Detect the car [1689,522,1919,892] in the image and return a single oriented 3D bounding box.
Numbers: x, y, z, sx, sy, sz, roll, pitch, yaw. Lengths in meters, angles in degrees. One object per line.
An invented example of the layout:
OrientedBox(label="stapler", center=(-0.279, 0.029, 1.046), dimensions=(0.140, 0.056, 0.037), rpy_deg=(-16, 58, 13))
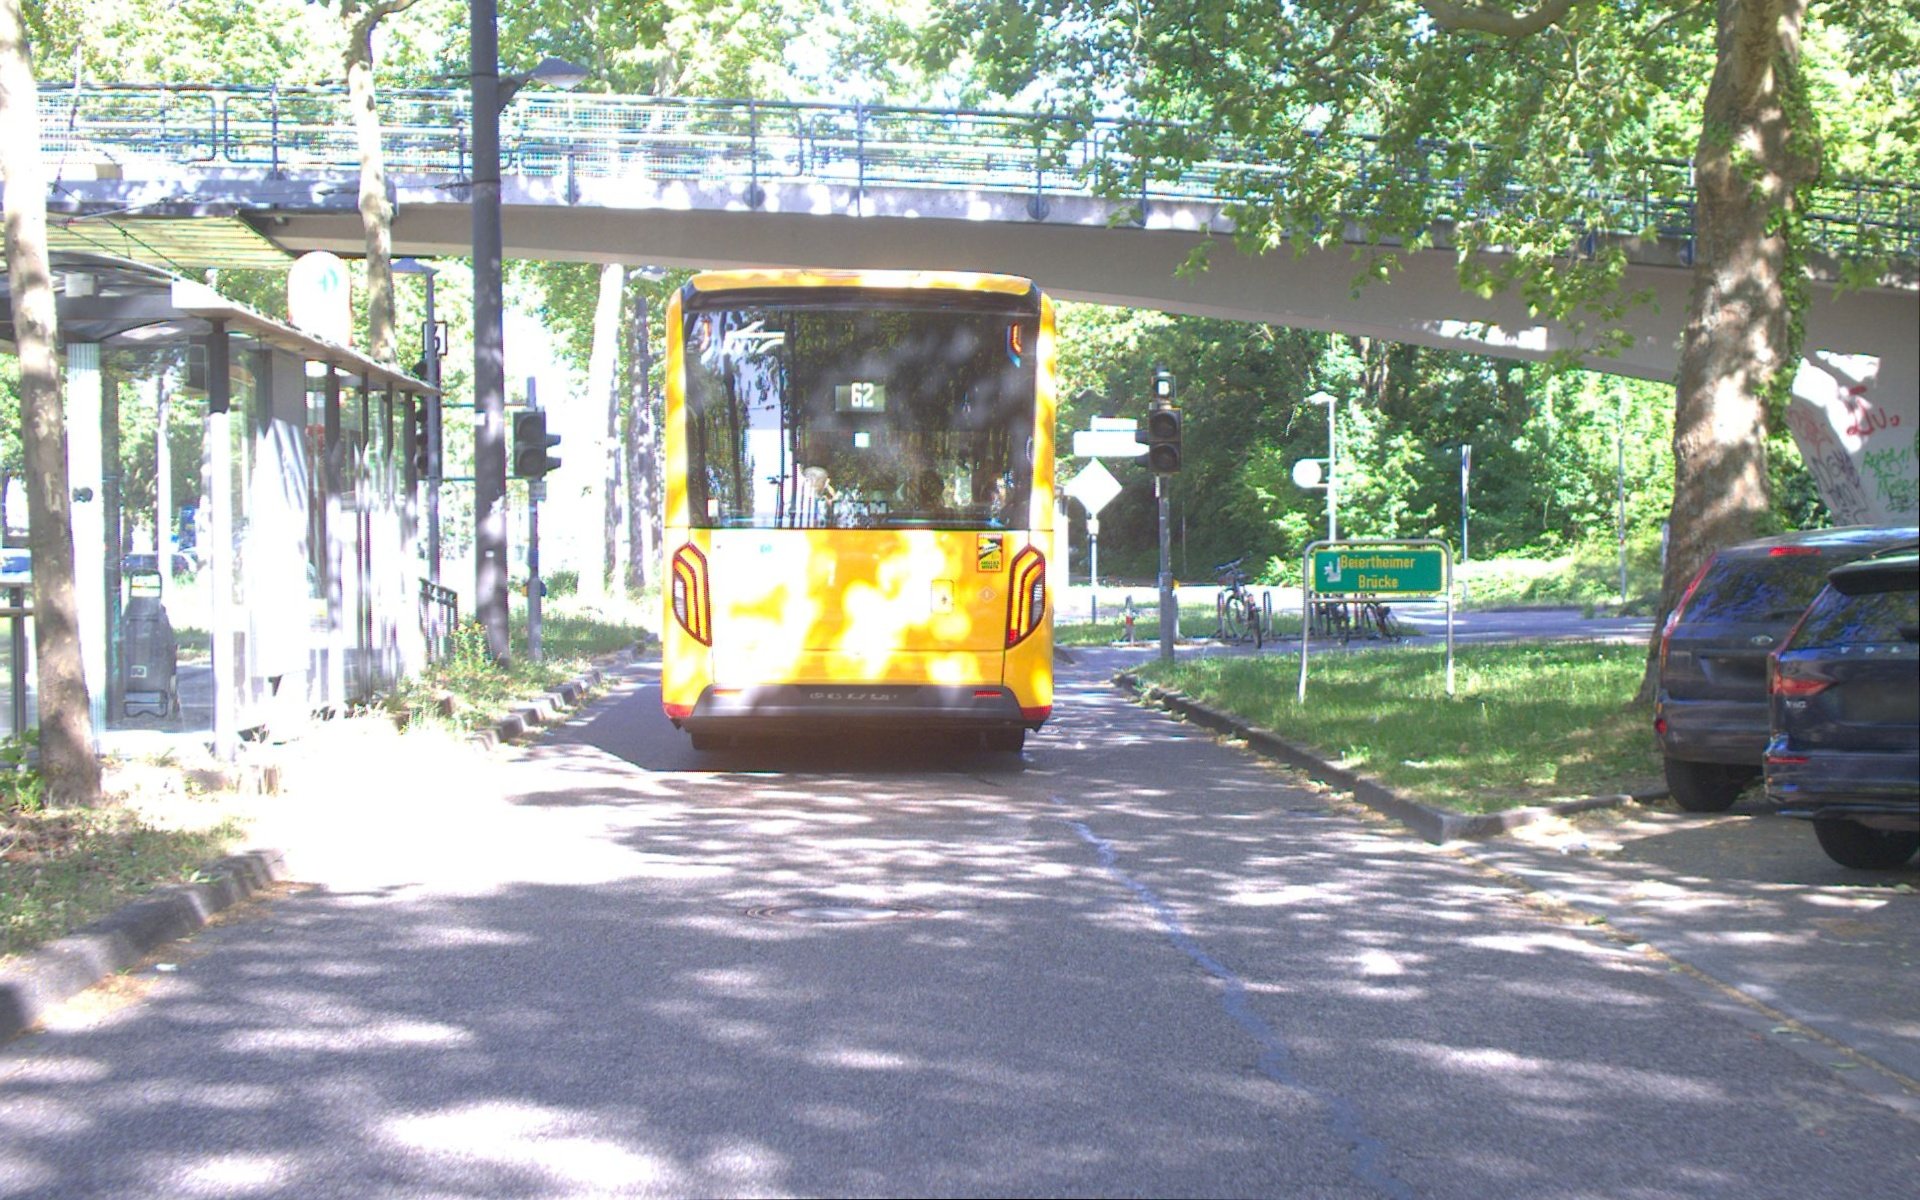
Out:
OrientedBox(label="car", center=(5.300, 0.339, 15.326), dimensions=(4.245, 1.456, 1.799), rpy_deg=(-4, 2, -42))

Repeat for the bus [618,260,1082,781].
OrientedBox(label="bus", center=(-0.987, -0.623, 27.772), dimensions=(2.899, 3.255, 12.219), rpy_deg=(-1, 1, -3))

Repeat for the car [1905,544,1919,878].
OrientedBox(label="car", center=(5.334, 0.422, 12.099), dimensions=(4.245, 1.456, 1.799), rpy_deg=(-4, 2, -42))

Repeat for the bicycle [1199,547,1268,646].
OrientedBox(label="bicycle", center=(3.500, -0.060, 44.095), dimensions=(0.590, 1.178, 1.800), rpy_deg=(-4, 2, -3))

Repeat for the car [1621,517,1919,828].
OrientedBox(label="car", center=(5.454, 0.284, 18.472), dimensions=(1.799, 1.456, 3.990), rpy_deg=(-2, 2, 44))

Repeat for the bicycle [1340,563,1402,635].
OrientedBox(label="bicycle", center=(5.287, -0.026, 44.291), dimensions=(0.505, 0.849, 1.474), rpy_deg=(-4, 2, -3))

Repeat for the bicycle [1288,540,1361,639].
OrientedBox(label="bicycle", center=(4.660, -0.142, 44.068), dimensions=(0.590, 1.178, 1.800), rpy_deg=(-4, 2, -3))

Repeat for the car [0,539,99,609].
OrientedBox(label="car", center=(-20.871, -0.602, 77.954), dimensions=(1.794, 1.505, 4.676), rpy_deg=(-1, 1, -4))

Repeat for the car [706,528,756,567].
OrientedBox(label="car", center=(-10.437, -2.418, 156.716), dimensions=(1.986, 1.637, 4.134), rpy_deg=(2, 2, -1))

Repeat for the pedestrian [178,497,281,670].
OrientedBox(label="pedestrian", center=(-6.052, -0.140, 28.511), dimensions=(0.724, 1.412, 0.682), rpy_deg=(0, 1, -2))

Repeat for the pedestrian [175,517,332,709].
OrientedBox(label="pedestrian", center=(-4.668, 0.076, 22.767), dimensions=(0.855, 1.238, 0.850), rpy_deg=(1, 1, 0))

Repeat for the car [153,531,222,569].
OrientedBox(label="car", center=(-31.030, -2.018, 138.212), dimensions=(1.794, 1.505, 4.000), rpy_deg=(-1, 1, 1))
